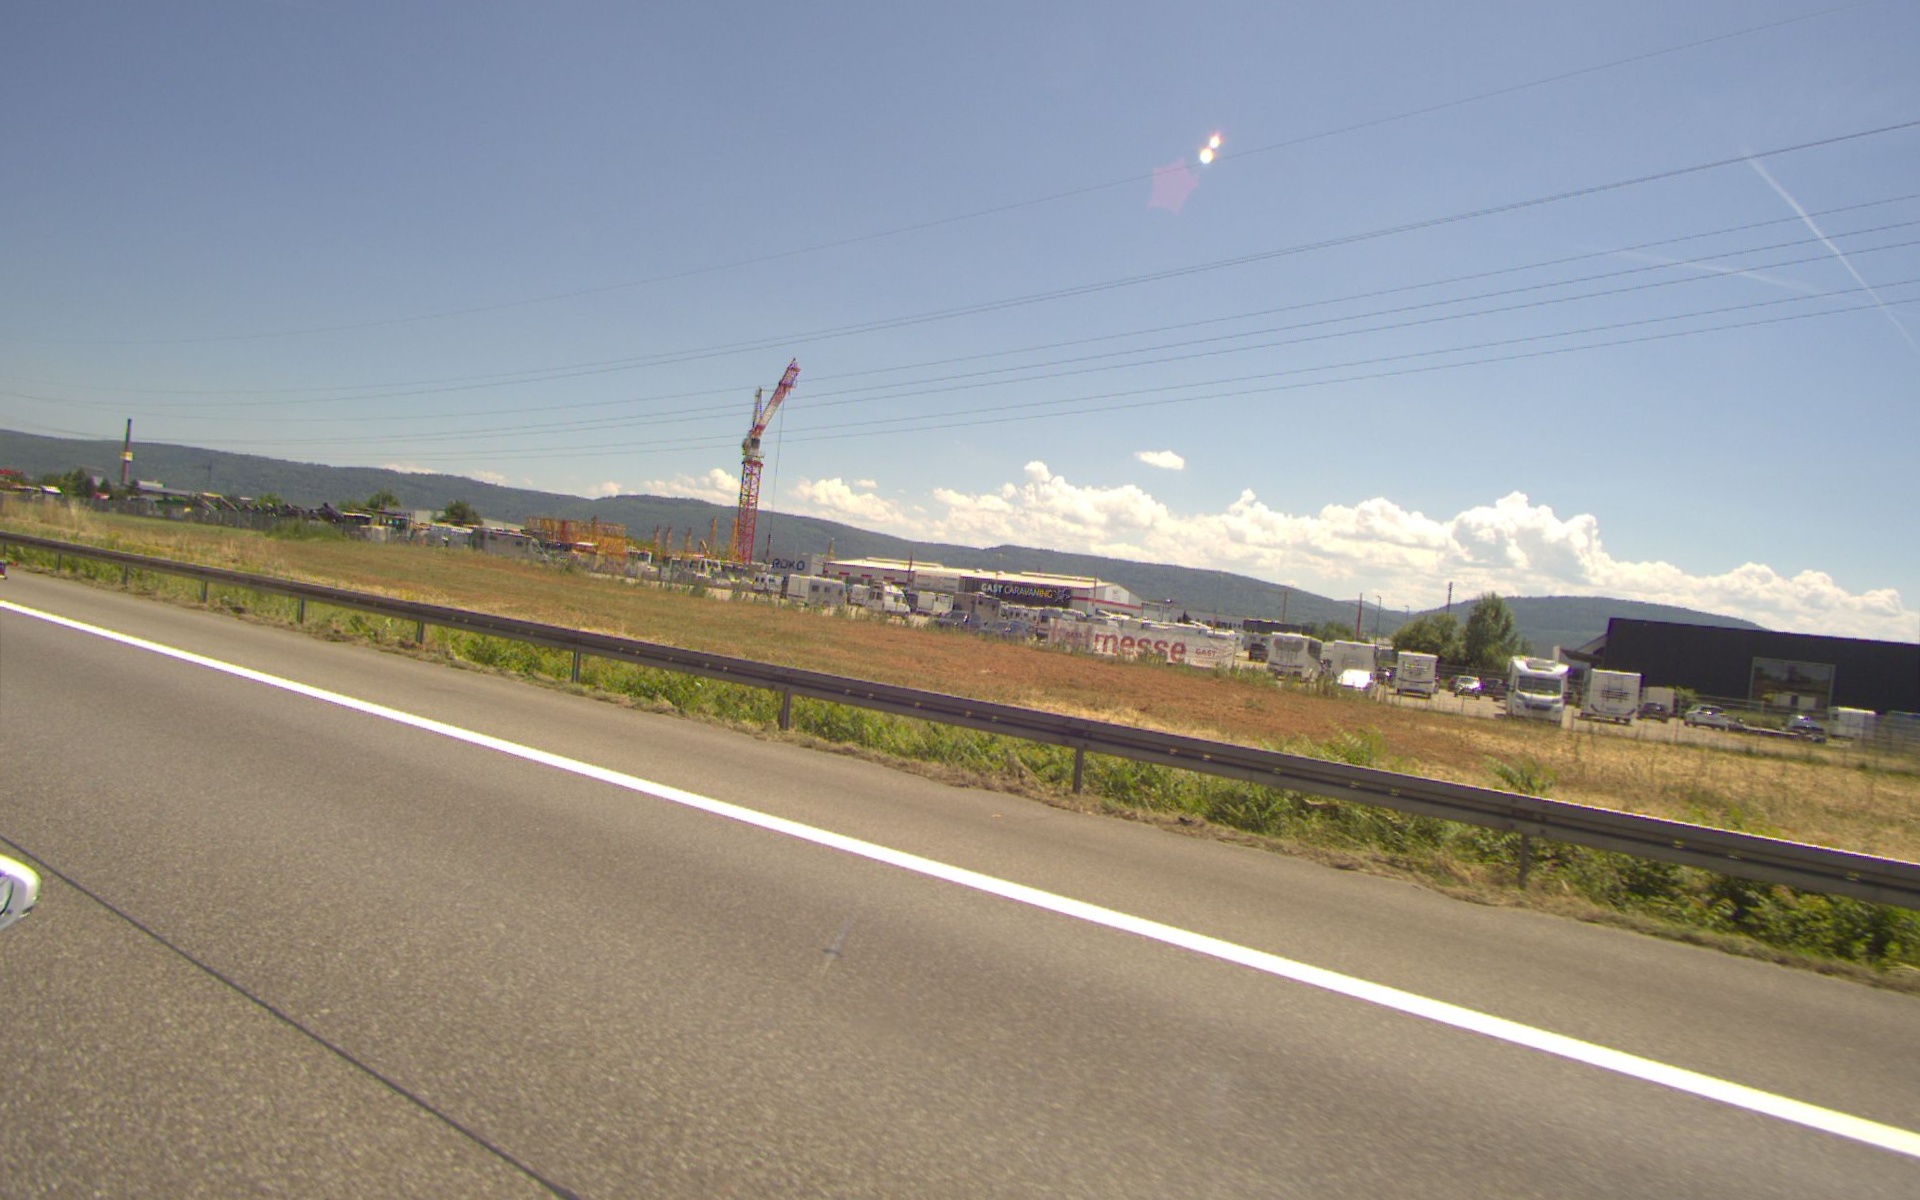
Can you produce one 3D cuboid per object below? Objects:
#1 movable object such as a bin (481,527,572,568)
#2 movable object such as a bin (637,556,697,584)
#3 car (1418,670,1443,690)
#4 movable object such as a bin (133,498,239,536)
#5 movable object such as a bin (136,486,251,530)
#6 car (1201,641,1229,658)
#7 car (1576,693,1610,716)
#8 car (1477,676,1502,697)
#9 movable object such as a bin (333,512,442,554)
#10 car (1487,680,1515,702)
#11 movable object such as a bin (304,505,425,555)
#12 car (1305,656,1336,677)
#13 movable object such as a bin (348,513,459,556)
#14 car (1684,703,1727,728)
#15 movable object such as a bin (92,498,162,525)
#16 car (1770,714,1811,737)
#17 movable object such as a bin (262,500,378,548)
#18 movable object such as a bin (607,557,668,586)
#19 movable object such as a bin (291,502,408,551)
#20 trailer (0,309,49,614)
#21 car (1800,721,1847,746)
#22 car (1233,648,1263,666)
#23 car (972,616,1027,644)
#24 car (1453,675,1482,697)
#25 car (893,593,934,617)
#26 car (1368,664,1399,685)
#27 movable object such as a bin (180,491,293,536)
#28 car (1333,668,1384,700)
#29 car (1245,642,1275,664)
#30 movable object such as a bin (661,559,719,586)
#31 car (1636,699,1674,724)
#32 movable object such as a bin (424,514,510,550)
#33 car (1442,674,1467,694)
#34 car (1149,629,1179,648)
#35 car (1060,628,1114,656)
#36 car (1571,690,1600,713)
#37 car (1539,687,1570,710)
[{"bbox_3d":[-48.816,-5.838,113.485,2.877,3.617,9.039,6,0,36],"label":"movable object such as a bin"},{"bbox_3d":[-34.600,-3.574,118.606,6.695,2.587,2.915,6,1,32],"label":"movable object such as a bin"},{"bbox_3d":[43.952,7.455,93.933,1.740,1.653,3.675,7,-1,29],"label":"car"},{"bbox_3d":[-97.358,-10.426,126.793,10.182,3.459,2.499,6,1,-34],"label":"movable object such as a bin"},{"bbox_3d":[-89.040,-10.652,117.206,2.620,3.736,10.261,6,1,31],"label":"movable object such as a bin"},{"bbox_3d":[26.426,5.153,104.262,1.670,1.490,3.995,7,-1,29],"label":"car"},{"bbox_3d":[45.274,7.469,72.030,1.670,1.370,3.995,7,-1,29],"label":"car"},{"bbox_3d":[47.402,7.719,90.019,1.740,1.653,4.239,7,-1,29],"label":"car"},{"bbox_3d":[-56.215,-6.496,99.052,2.911,3.045,8.721,7,1,38],"label":"movable object such as a bin"},{"bbox_3d":[40.357,6.740,75.041,1.670,1.370,3.995,7,-1,29],"label":"car"},{"bbox_3d":[-59.422,-6.956,100.715,3.366,3.736,9.710,6,1,37],"label":"movable object such as a bin"},{"bbox_3d":[29.557,5.474,82.375,1.670,1.430,3.995,7,-1,29],"label":"car"},{"bbox_3d":[-53.530,-6.277,97.038,3.166,3.045,8.721,6,1,38],"label":"movable object such as a bin"},{"bbox_3d":[51.055,7.872,68.978,1.692,1.370,3.995,7,-1,29],"label":"car"},{"bbox_3d":[-109.641,-11.639,132.447,6.856,2.723,3.138,5,1,-44],"label":"movable object such as a bin"},{"bbox_3d":[64.618,9.753,78.301,1.692,1.370,3.664,7,-1,29],"label":"car"},{"bbox_3d":[-66.977,-7.902,105.599,2.928,3.736,9.719,7,1,33],"label":"movable object such as a bin"},{"bbox_3d":[-37.029,-3.286,115.438,6.695,2.587,2.915,6,1,32],"label":"movable object such as a bin"},{"bbox_3d":[-62.220,-7.451,102.830,2.930,3.736,9.712,7,1,36],"label":"movable object such as a bin"},{"bbox_3d":[-18.296,-2.513,15.763,10.918,4.121,2.585,7,-2,31],"label":"trailer"},{"bbox_3d":[63.041,9.732,73.509,1.692,1.370,3.995,7,-1,29],"label":"car"},{"bbox_3d":[29.072,5.763,101.414,1.893,1.577,3.995,7,-1,29],"label":"car"},{"bbox_3d":[2.386,1.812,59.675,1.559,1.314,3.897,7,0,29],"label":"car"},{"bbox_3d":[38.462,6.490,76.171,1.670,1.430,3.995,7,-1,29],"label":"car"},{"bbox_3d":[-5.591,0.596,122.250,2.397,2.388,5.113,7,0,30],"label":"car"},{"bbox_3d":[33.540,5.900,79.628,1.670,1.430,3.995,7,-1,29],"label":"car"},{"bbox_3d":[-82.396,-9.767,114.881,2.354,3.736,10.261,6,1,31],"label":"movable object such as a bin"},{"bbox_3d":[19.786,4.154,49.847,1.560,1.313,3.895,7,-1,32],"label":"car"},{"bbox_3d":[32.409,5.740,108.621,2.110,2.039,4.277,7,0,28],"label":"car"},{"bbox_3d":[-32.528,-3.312,121.136,6.695,2.587,2.915,6,1,32],"label":"movable object such as a bin"},{"bbox_3d":[48.679,7.784,70.506,1.670,1.370,3.995,7,-1,29],"label":"car"},{"bbox_3d":[-58.515,-8.057,119.531,2.877,3.189,8.685,6,0,36],"label":"movable object such as a bin"},{"bbox_3d":[47.319,8.017,96.221,1.740,1.653,4.239,7,-1,29],"label":"car"},{"bbox_3d":[21.539,4.078,106.075,1.893,1.577,3.995,7,-1,29],"label":"car"},{"bbox_3d":[7.242,2.397,56.996,1.559,1.314,3.897,7,0,29],"label":"car"},{"bbox_3d":[53.613,8.692,86.271,1.740,1.653,4.239,7,-1,29],"label":"car"},{"bbox_3d":[43.197,7.161,73.103,1.670,1.370,3.995,7,-1,29],"label":"car"}]
